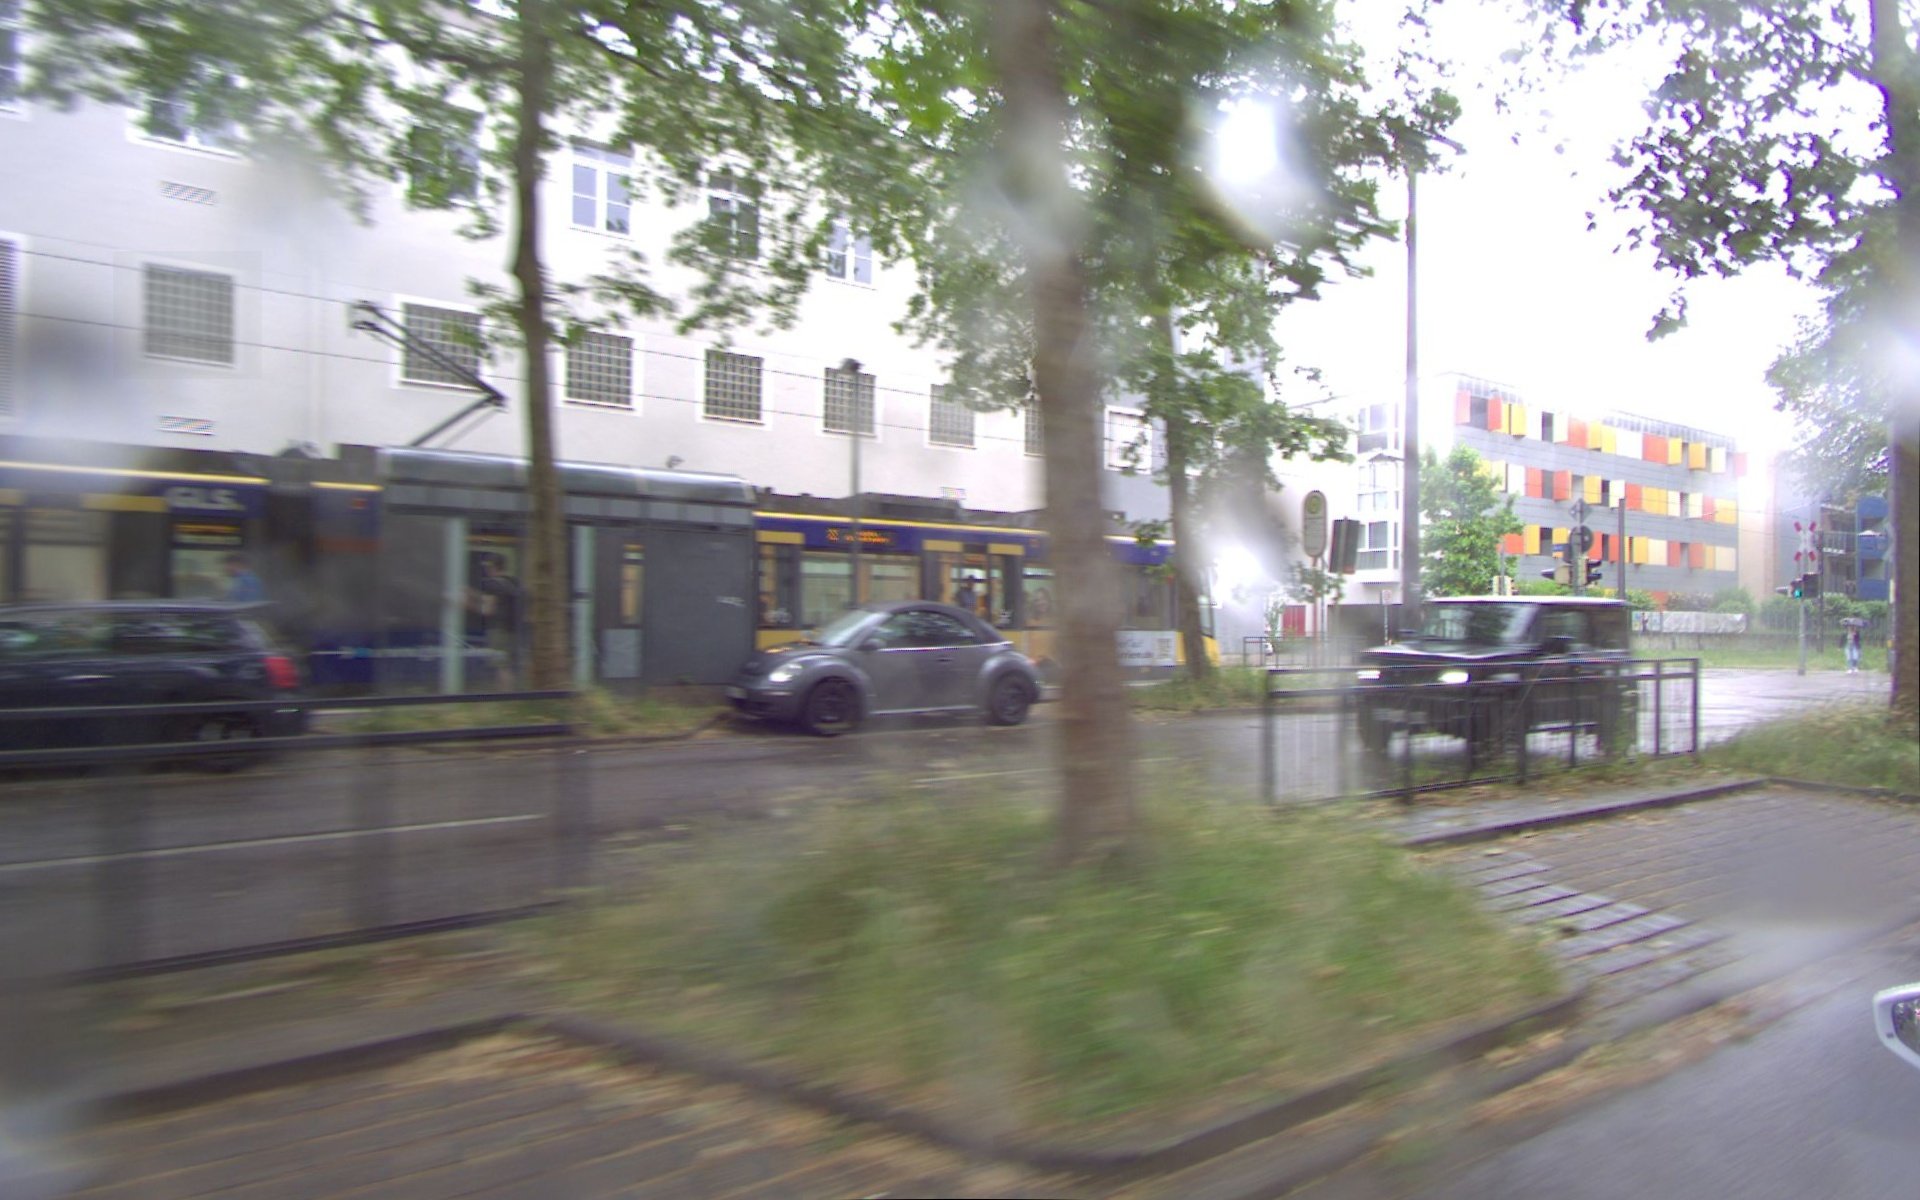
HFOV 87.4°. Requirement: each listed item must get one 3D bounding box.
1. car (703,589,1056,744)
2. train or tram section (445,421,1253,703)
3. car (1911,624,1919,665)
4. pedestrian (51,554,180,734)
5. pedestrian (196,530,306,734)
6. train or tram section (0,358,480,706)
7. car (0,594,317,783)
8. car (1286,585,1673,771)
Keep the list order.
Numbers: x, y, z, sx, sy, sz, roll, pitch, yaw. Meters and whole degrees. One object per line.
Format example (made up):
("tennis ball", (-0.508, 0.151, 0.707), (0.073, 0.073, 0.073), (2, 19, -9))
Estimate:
("car", (-0.963, 0.746, 12.543), (3.956, 1.634, 1.983), (1, -1, -32))
("train or tram section", (-0.939, -0.131, 18.043), (14.516, 3.604, 3.089), (3, -3, -32))
("car", (36.207, 1.612, 36.399), (3.965, 1.434, 1.978), (1, -1, -38))
("pedestrian", (-8.561, 0.435, 10.227), (0.862, 1.726, 0.813), (1, -1, -32))
("pedestrian", (-7.487, 0.331, 10.656), (0.810, 2.040, 0.866), (1, -1, -28))
("train or tram section", (-13.054, -0.800, 10.194), (14.423, 3.604, 3.088), (3, -3, -33))
("car", (-7.553, 0.665, 8.310), (3.714, 1.361, 1.729), (1, 1, -32))
("car", (5.609, 0.732, 10.761), (3.956, 1.634, 1.986), (1, -1, -32))
